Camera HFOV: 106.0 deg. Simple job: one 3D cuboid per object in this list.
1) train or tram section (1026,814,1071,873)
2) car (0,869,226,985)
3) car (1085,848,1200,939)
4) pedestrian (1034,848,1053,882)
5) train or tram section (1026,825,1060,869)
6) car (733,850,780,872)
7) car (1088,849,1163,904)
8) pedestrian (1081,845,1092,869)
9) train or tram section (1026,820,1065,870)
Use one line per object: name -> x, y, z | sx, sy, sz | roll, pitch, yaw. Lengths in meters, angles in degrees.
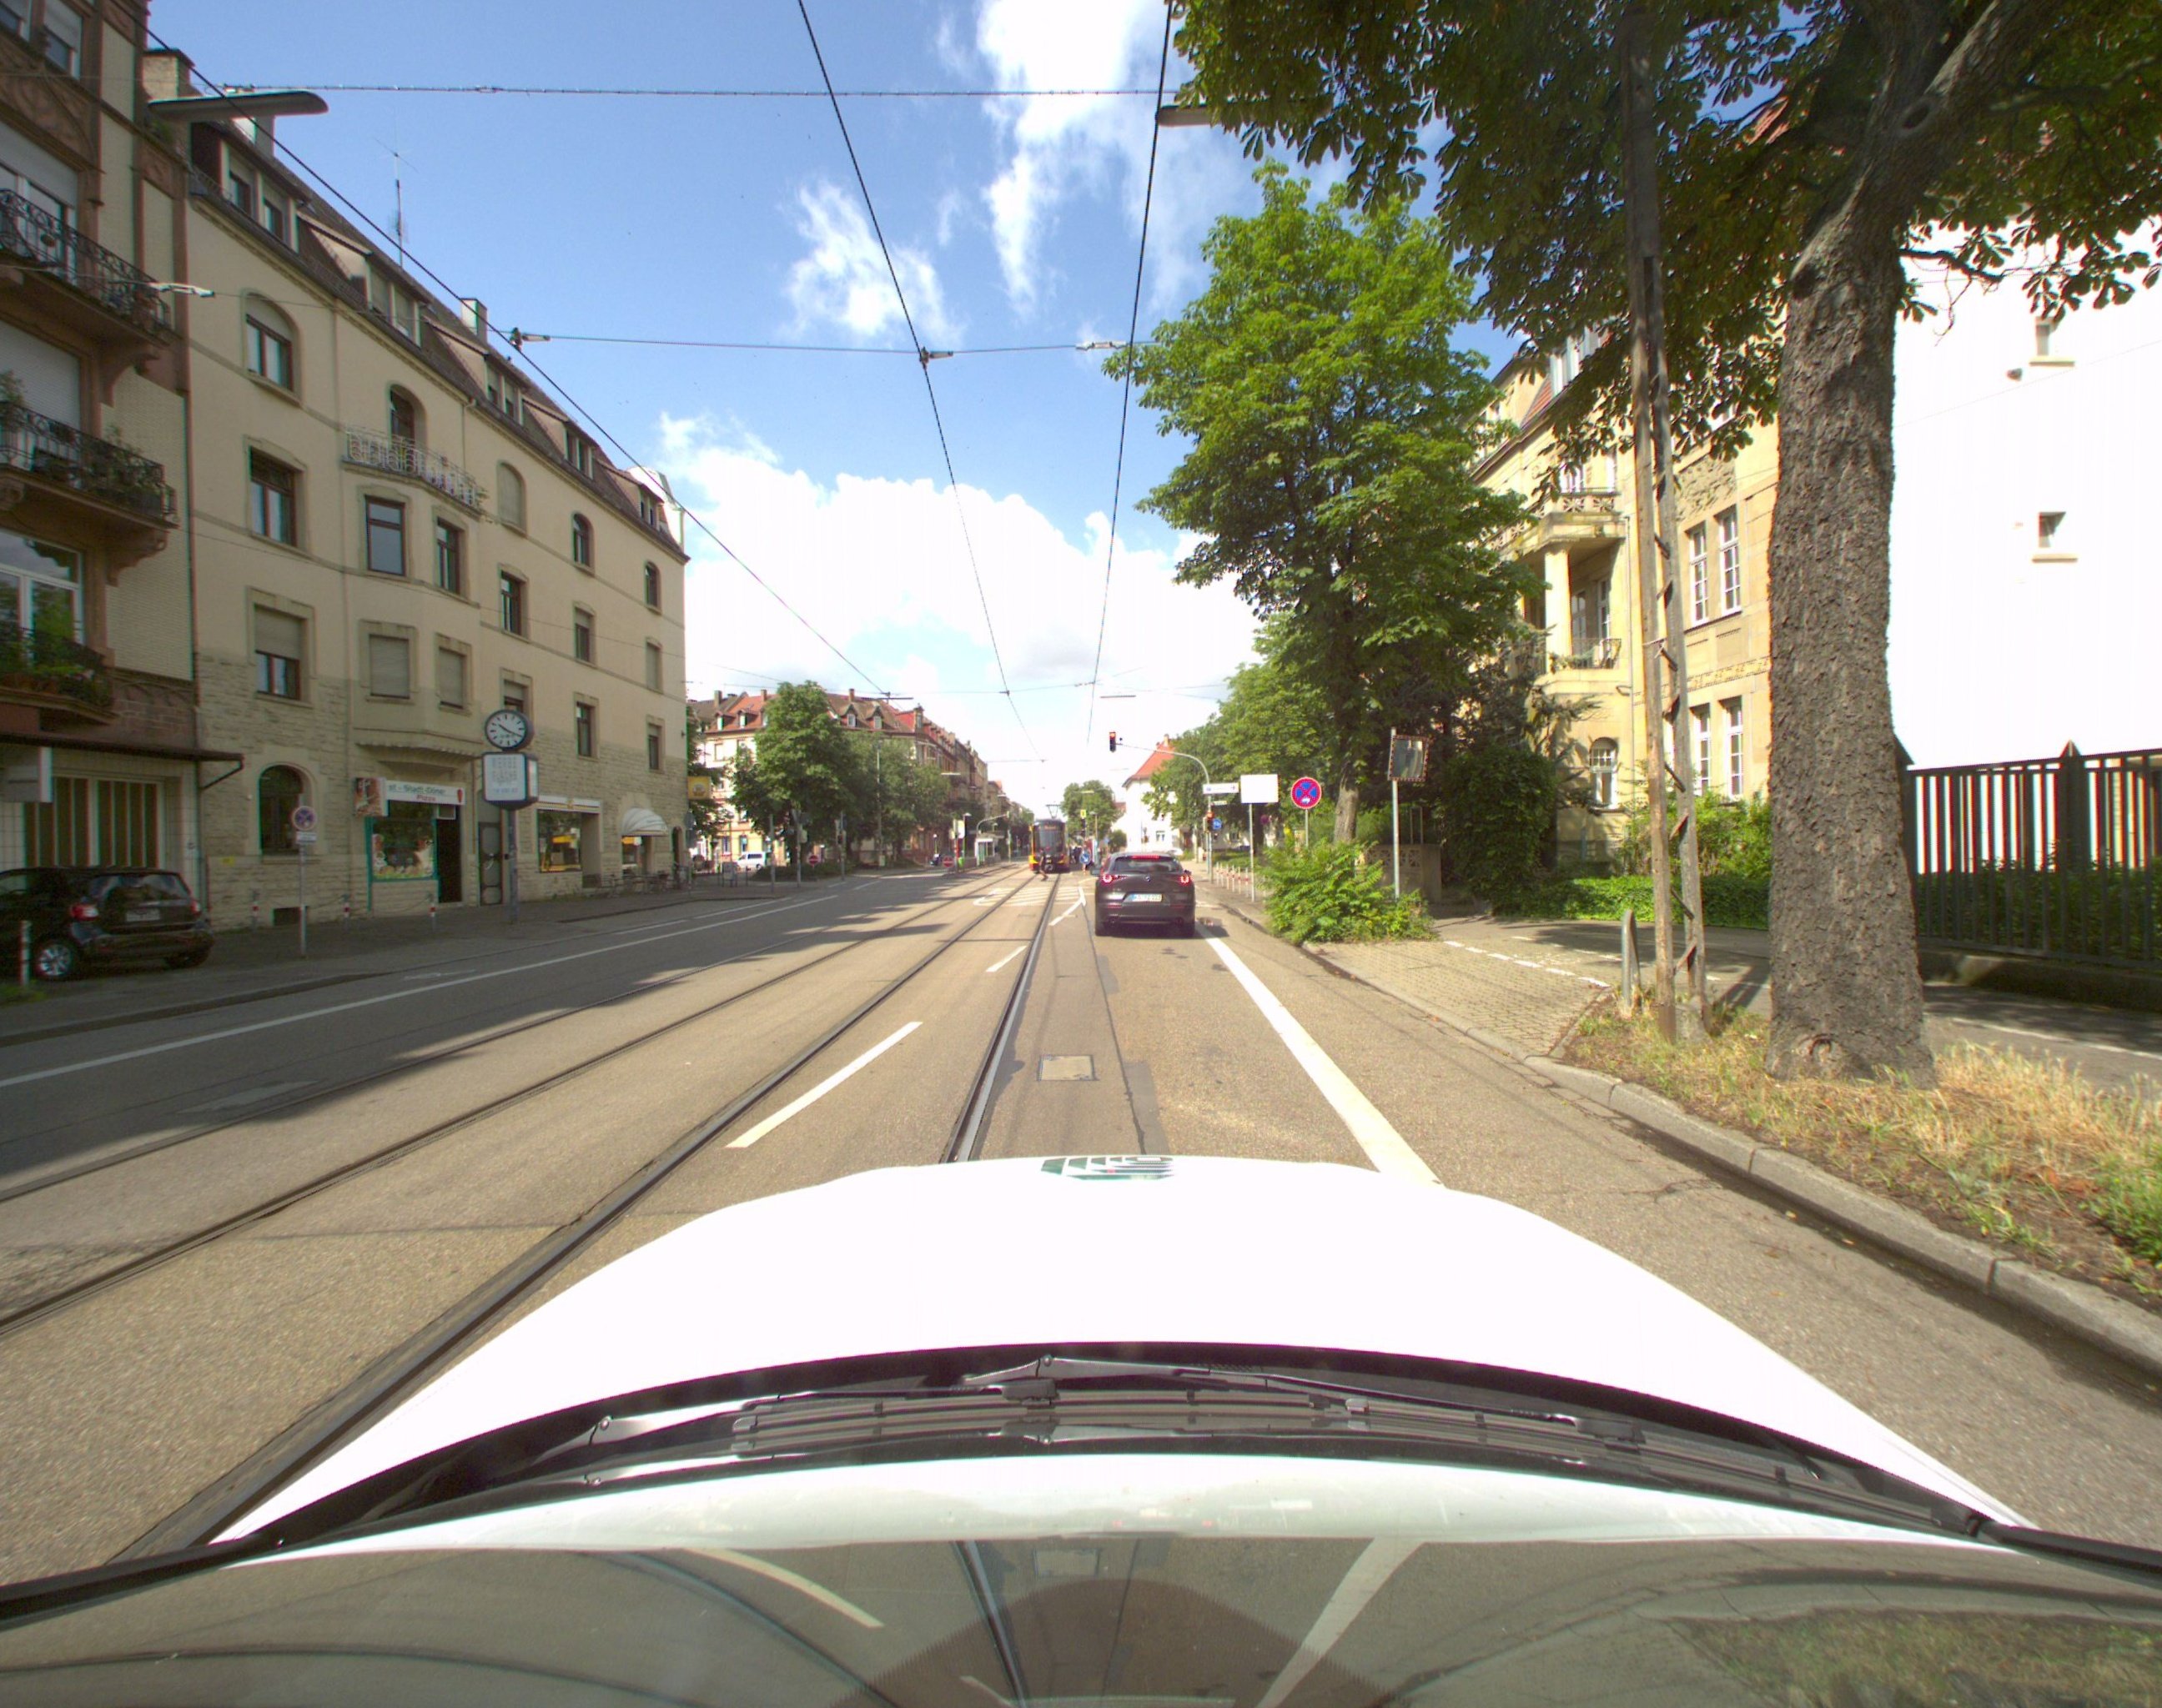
train or tram section -> -2.286, -0.652, 54.711 | 2.647, 3.527, 8.484 | -2, 0, -4
car -> -14.814, 0.992, 11.744 | 3.224, 1.513, 1.679 | 0, 0, 2
car -> 1.068, 0.657, 16.027 | 1.785, 1.512, 4.347 | 0, 0, -2
pedestrian -> -1.839, 0.512, 39.581 | 0.873, 1.605, 0.631 | -1, 0, -4
train or tram section -> -3.447, -0.604, 71.670 | 2.647, 3.527, 8.484 | -2, 0, -4
car -> -34.939, 0.731, 87.647 | 4.096, 2.013, 2.005 | -5, 0, 8
car -> 1.284, 0.618, 25.706 | 1.781, 1.492, 4.877 | -2, 1, -3
pedestrian -> 0.344, 0.192, 54.123 | 0.666, 1.605, 0.699 | -1, 0, -3
train or tram section -> -2.866, -0.636, 63.205 | 2.647, 3.527, 8.484 | -2, 0, -4
